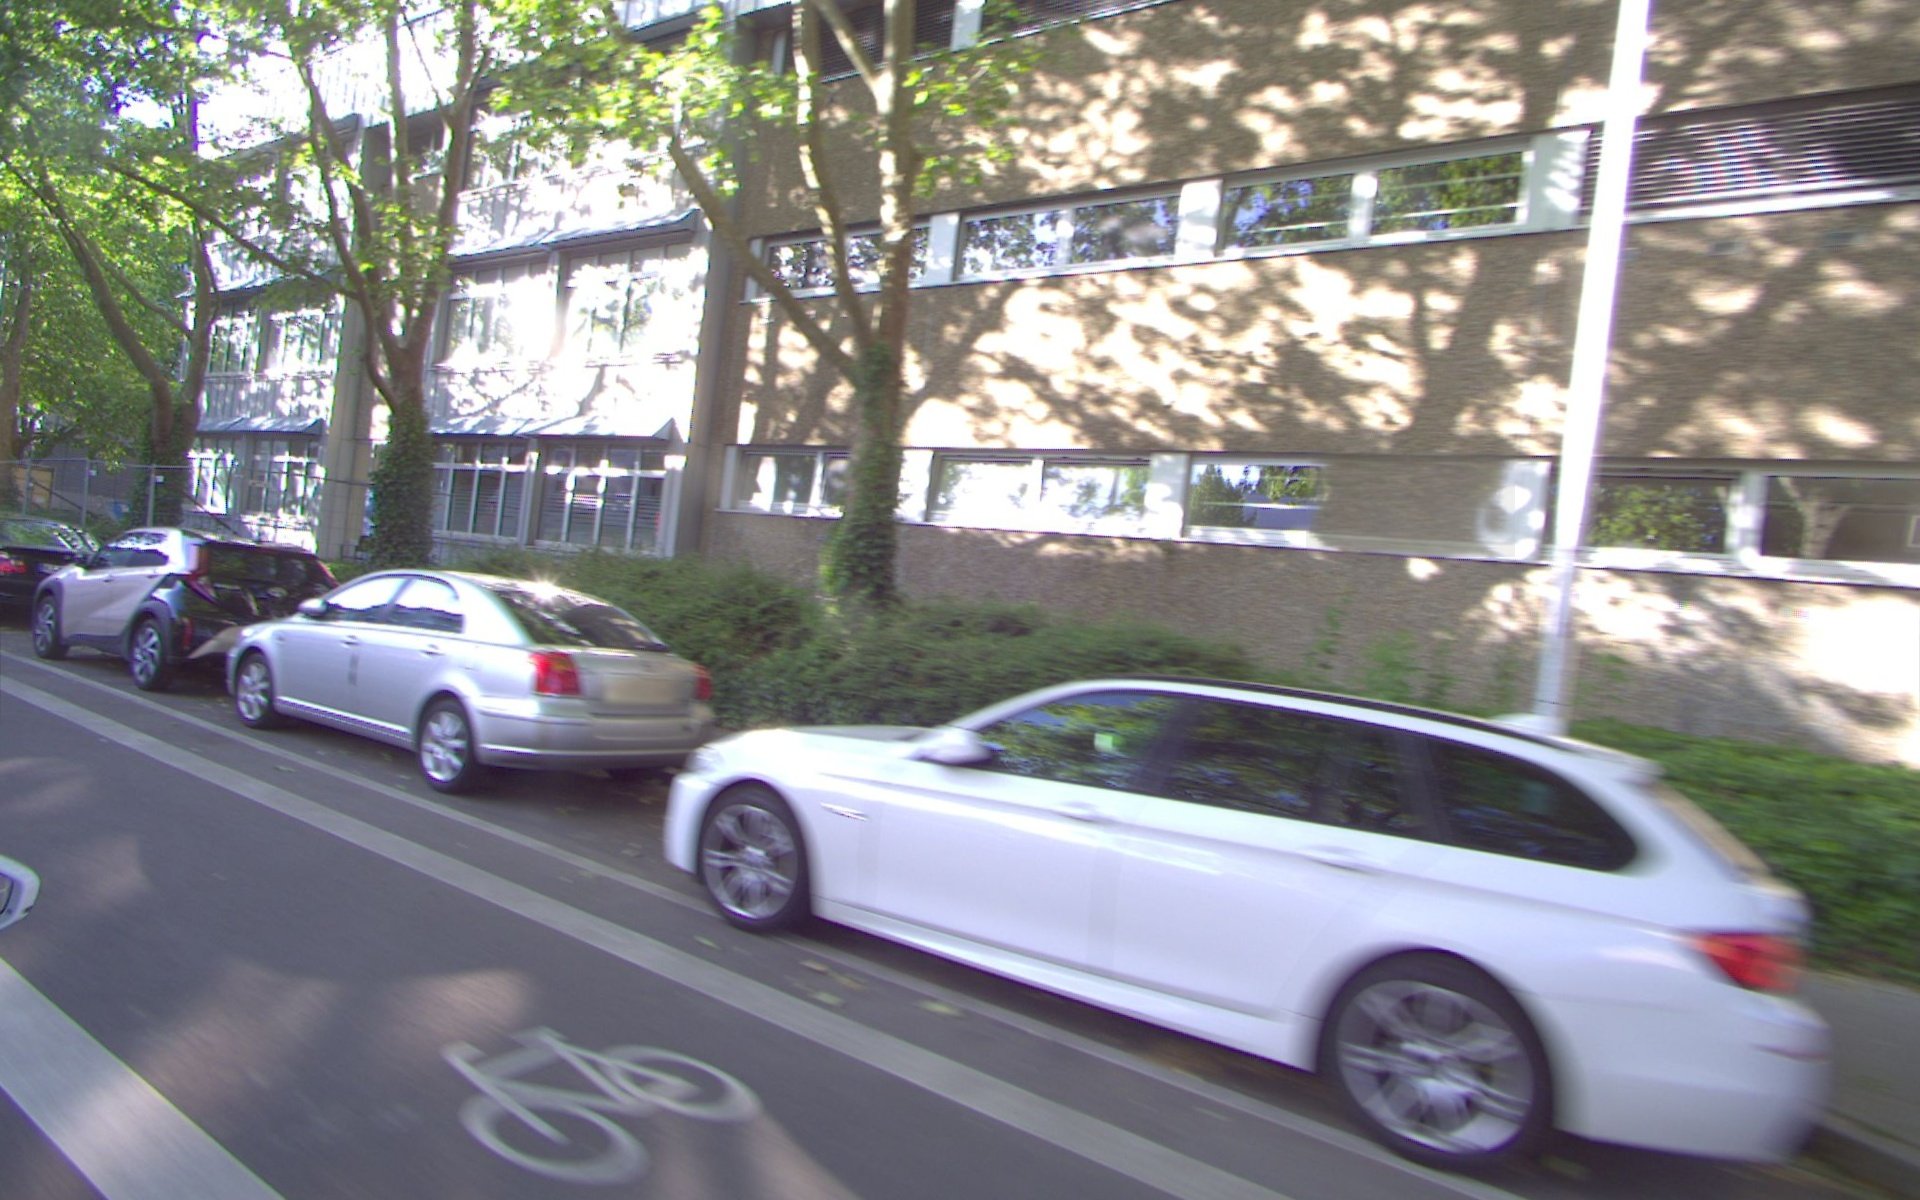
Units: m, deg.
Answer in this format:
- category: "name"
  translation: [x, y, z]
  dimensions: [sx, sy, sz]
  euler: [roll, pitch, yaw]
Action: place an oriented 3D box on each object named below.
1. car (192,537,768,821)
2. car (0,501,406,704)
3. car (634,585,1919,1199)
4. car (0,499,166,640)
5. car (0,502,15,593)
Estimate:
- category: "car"
  translation: [-3.939, 0.497, 8.038]
  dimensions: [4.526, 1.453, 1.859]
  euler: [6, -2, 31]
- category: "car"
  translation: [-7.982, -0.005, 10.506]
  dimensions: [4.225, 1.540, 1.859]
  euler: [6, -2, 31]
- category: "car"
  translation: [1.049, 0.966, 4.576]
  dimensions: [4.885, 1.453, 1.860]
  euler: [6, -2, 29]
- category: "car"
  translation: [-12.974, -0.563, 13.651]
  dimensions: [4.522, 1.539, 1.860]
  euler: [7, -3, 31]
- category: "car"
  translation: [-17.705, -1.113, 16.926]
  dimensions: [3.434, 1.491, 1.618]
  euler: [7, -3, 31]
